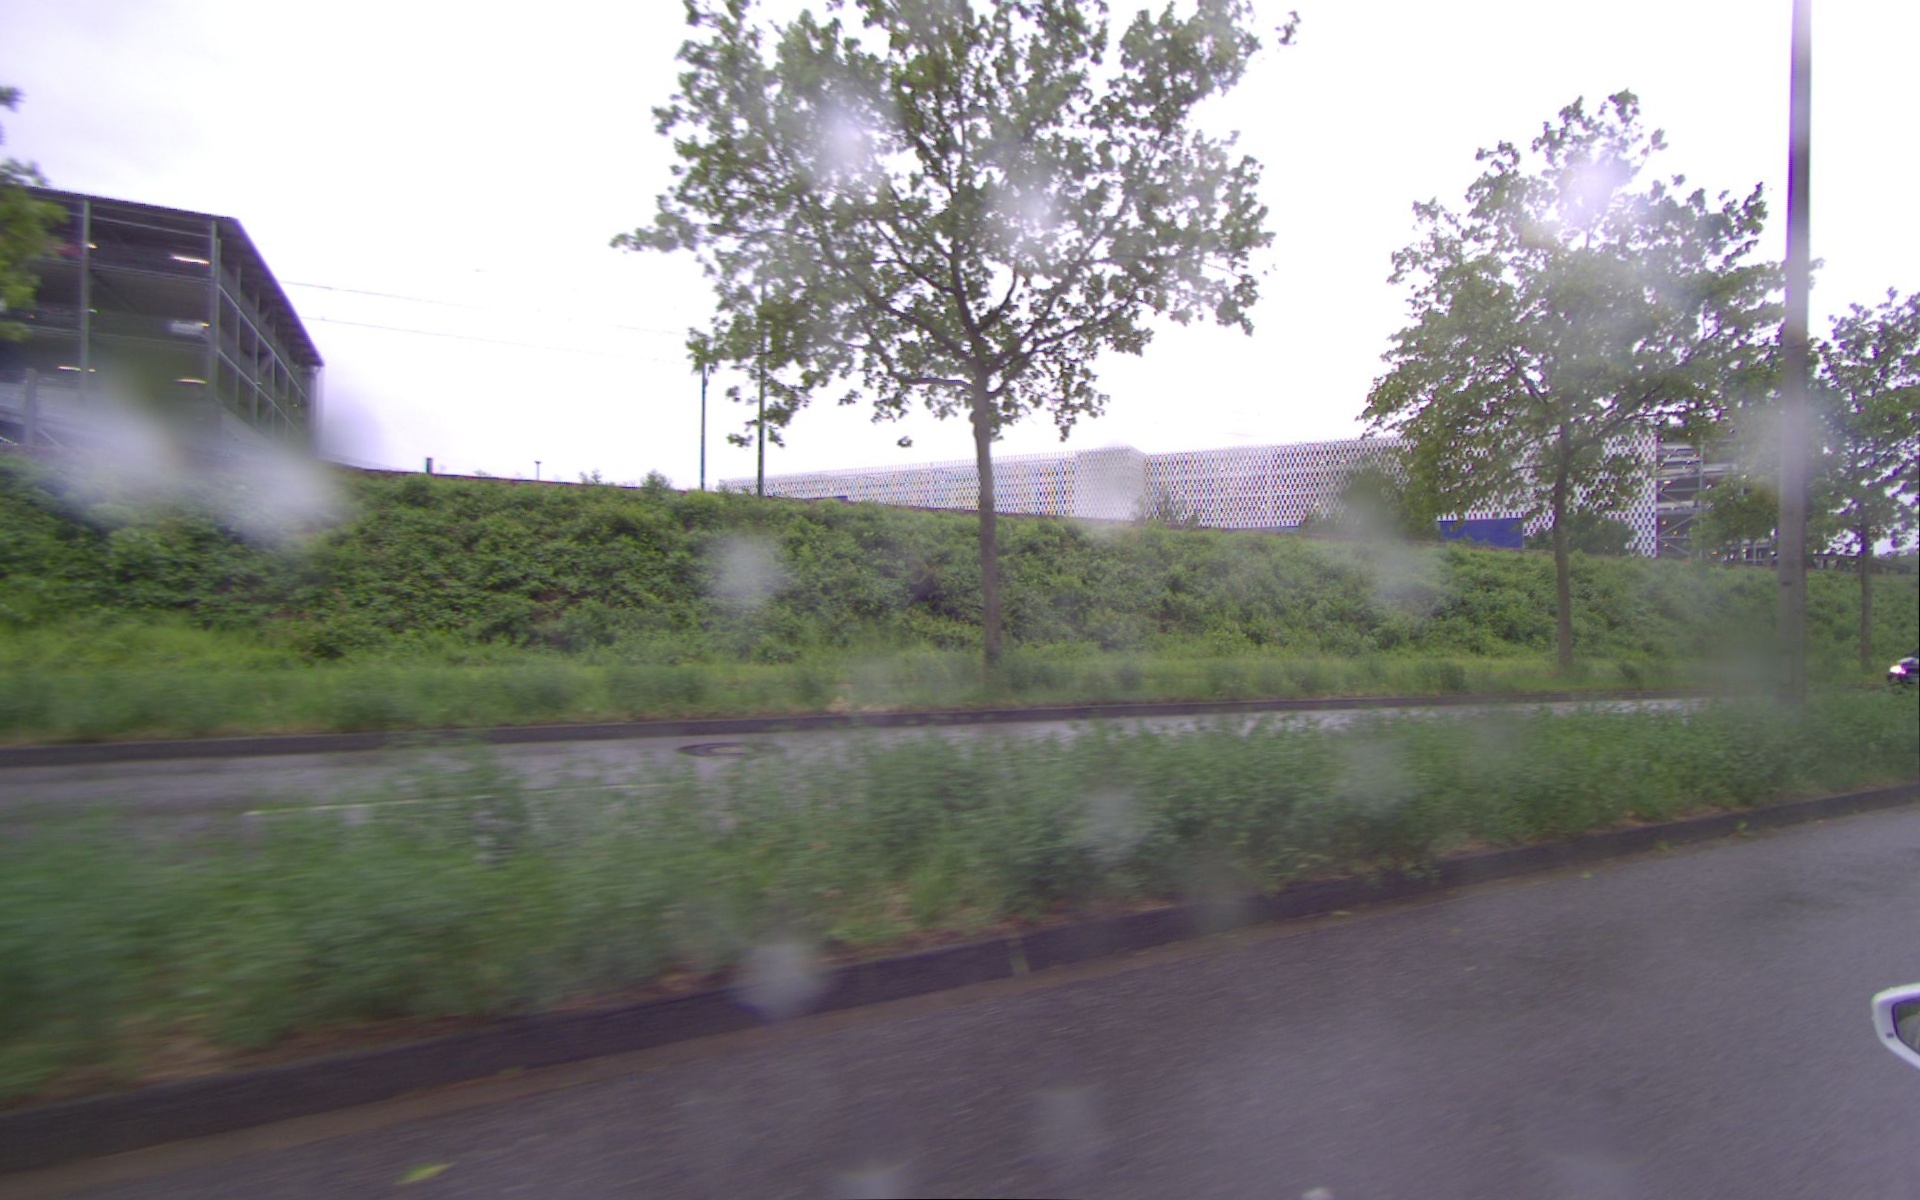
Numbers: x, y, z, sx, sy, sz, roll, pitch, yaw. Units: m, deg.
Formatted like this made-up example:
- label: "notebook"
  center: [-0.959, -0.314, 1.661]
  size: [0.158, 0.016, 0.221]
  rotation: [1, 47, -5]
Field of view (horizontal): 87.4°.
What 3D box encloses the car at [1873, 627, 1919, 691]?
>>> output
- label: "car"
  center: [23.951, 1.416, 24.225]
  size: [3.950, 1.445, 1.624]
  rotation: [1, 0, -28]
